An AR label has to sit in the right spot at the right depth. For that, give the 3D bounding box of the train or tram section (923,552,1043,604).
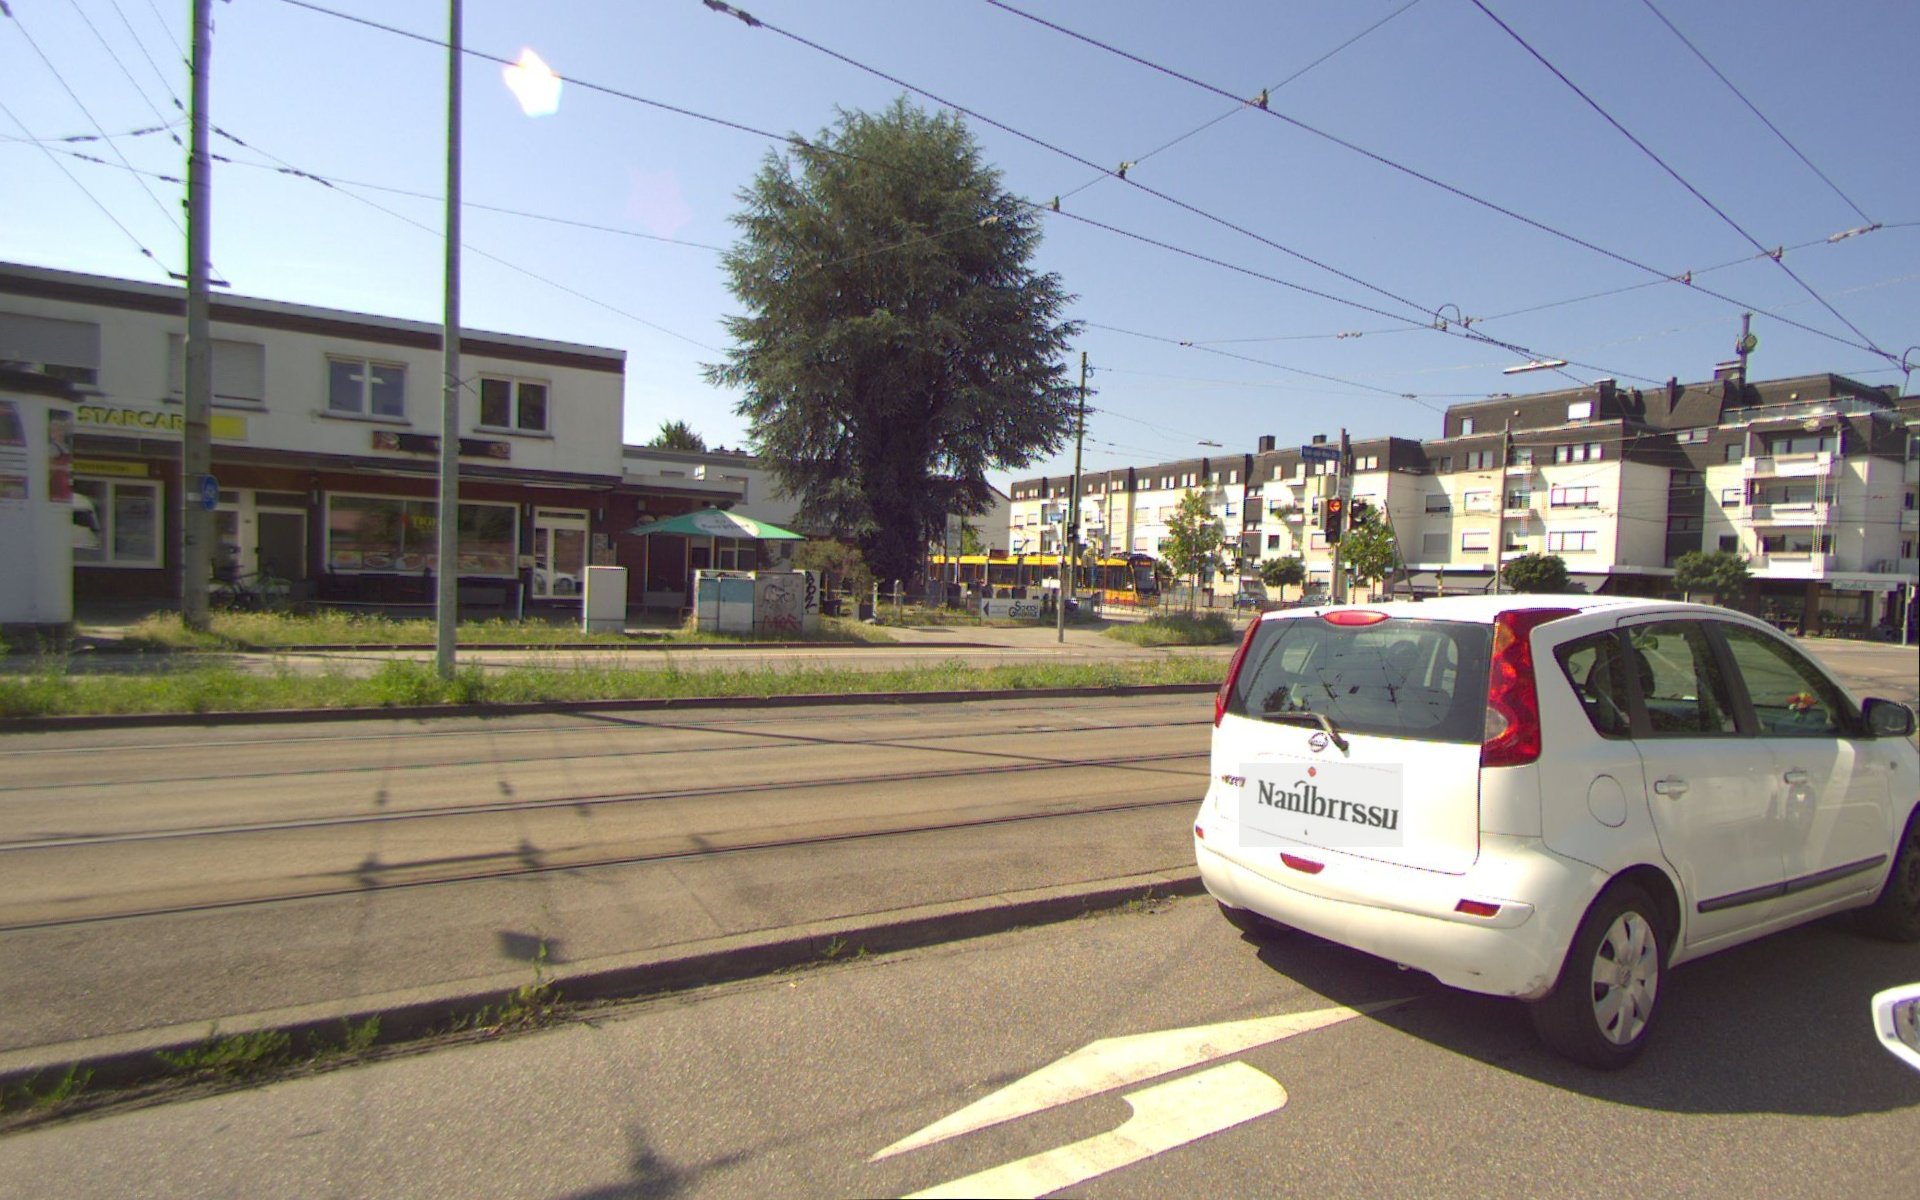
[{"bbox_3d":[1.483,-1.840,79.903,2.736,3.707,13.795,1,1,-30],"label":"train or tram section"}]

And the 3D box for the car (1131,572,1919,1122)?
[{"bbox_3d":[2.931,0.744,4.670,4.019,1.582,1.757,1,0,-30],"label":"car"}]

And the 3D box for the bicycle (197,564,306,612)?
[{"bbox_3d":[-15.677,-0.258,22.277,1.889,0.996,0.754,1,1,-30],"label":"bicycle"}]

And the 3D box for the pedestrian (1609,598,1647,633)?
[{"bbox_3d":[37.195,0.851,55.964,1.410,1.861,1.123,2,1,15],"label":"pedestrian"}]

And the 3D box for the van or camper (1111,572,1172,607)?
[{"bbox_3d":[14.942,-0.875,82.869,2.349,2.660,4.850,1,1,-31],"label":"van or camper"}]

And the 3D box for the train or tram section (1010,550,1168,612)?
[{"bbox_3d":[8.311,-1.391,67.927,2.736,3.707,13.795,1,1,-30],"label":"train or tram section"}]

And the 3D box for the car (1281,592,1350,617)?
[{"bbox_3d":[23.892,0.281,67.641,1.807,1.520,4.151,1,1,-30],"label":"car"}]

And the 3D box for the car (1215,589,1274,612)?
[{"bbox_3d":[20.619,0.015,72.963,1.807,1.520,3.967,1,1,-30],"label":"car"}]

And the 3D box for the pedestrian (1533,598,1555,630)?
[{"bbox_3d":[33.375,0.770,57.406,0.795,1.783,0.764,2,1,7],"label":"pedestrian"}]
